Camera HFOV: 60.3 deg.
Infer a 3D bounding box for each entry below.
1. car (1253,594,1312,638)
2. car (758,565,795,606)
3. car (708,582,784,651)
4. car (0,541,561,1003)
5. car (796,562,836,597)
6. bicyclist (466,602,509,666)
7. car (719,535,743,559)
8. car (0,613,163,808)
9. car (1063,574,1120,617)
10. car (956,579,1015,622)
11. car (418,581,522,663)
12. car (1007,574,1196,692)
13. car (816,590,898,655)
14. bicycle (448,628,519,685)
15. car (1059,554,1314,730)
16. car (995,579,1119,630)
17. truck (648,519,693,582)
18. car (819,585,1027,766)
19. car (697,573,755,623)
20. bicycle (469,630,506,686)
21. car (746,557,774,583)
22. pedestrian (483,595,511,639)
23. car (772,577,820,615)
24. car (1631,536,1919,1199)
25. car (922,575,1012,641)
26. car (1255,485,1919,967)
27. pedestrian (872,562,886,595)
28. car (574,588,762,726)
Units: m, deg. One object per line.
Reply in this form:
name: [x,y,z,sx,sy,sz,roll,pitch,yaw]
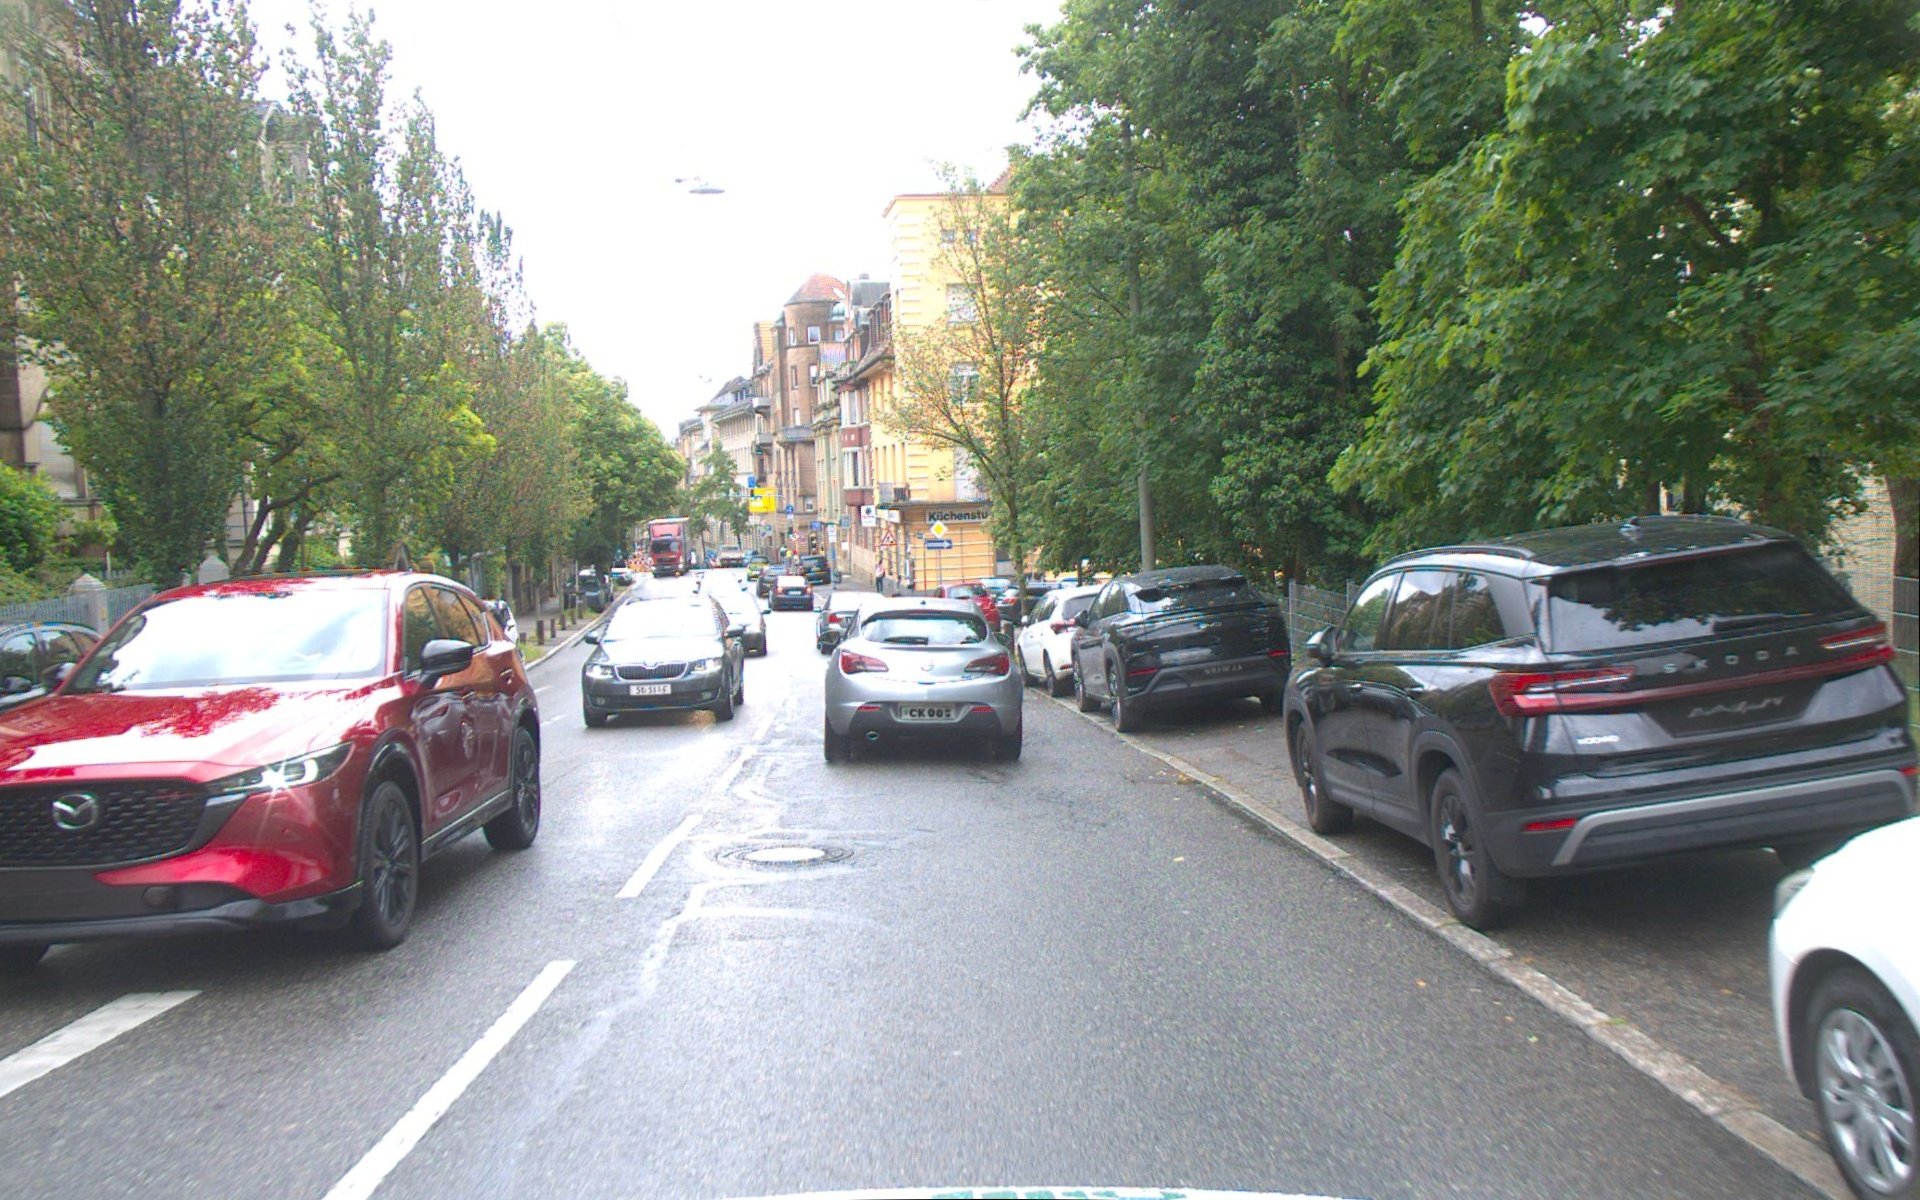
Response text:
car: [12.366,0.571,63.275,1.739,1.454,3.788,1,3,18]
car: [-9.052,-0.747,81.376,1.610,1.718,3.711,-1,4,-9]
car: [-4.979,0.374,38.755,1.629,1.473,3.987,-2,0,-7]
car: [-3.352,0.629,8.162,1.809,1.611,4.277,-3,1,-3]
car: [-8.228,-1.164,94.309,1.957,1.717,3.993,-7,1,-7]
bicyclist: [-9.061,0.646,31.755,0.758,1.190,1.078,0,0,-16]
car: [-19.370,-4.429,139.652,1.750,1.887,3.988,0,0,-12]
car: [-8.996,0.938,14.815,1.778,1.641,3.999,0,0,0]
car: [5.001,-0.186,62.463,1.738,1.454,3.790,0,3,11]
car: [0.989,-0.006,60.929,1.738,1.454,3.789,0,2,8]
car: [-11.587,0.486,39.361,1.756,1.679,4.187,-5,1,-10]
car: [1.988,0.469,24.504,1.938,1.477,4.108,-4,0,-7]
car: [-2.459,0.506,38.676,1.742,1.455,3.780,0,0,-6]
bicycle: [-10.830,1.279,37.611,1.437,1.140,0.379,-5,1,-12]
car: [2.424,0.439,18.915,1.937,1.637,4.481,-4,0,-4]
car: [3.143,0.146,53.847,3.704,1.455,1.778,3,-1,-10]
truck: [-21.232,-3.751,121.246,2.740,4.202,10.828,-5,4,-10]
car: [-0.377,0.634,16.262,1.778,1.454,3.999,-1,2,-2]
car: [-8.419,-0.087,59.670,1.787,1.679,3.996,-3,1,-5]
bicycle: [-9.062,1.093,31.756,0.642,0.999,2.146,0,0,-15]
car: [-12.414,-1.854,102.740,1.609,1.563,3.709,-1,0,-8]
pedestrian: [-15.211,0.557,54.370,0.693,1.366,0.612,-5,1,-6]
car: [-6.530,-0.178,65.548,1.735,1.439,3.709,0,1,-9]
car: [2.991,0.544,2.788,1.780,1.520,3.997,-7,0,-3]
car: [0.132,0.205,43.736,1.781,1.492,3.994,-6,0,-7]
car: [2.938,0.443,8.627,1.784,1.712,4.803,-4,1,-1]
pedestrian: [-3.796,-1.028,77.808,0.601,1.522,0.552,-1,3,-6]
car: [-3.563,0.634,20.874,1.703,1.499,4.280,-2,0,-2]
